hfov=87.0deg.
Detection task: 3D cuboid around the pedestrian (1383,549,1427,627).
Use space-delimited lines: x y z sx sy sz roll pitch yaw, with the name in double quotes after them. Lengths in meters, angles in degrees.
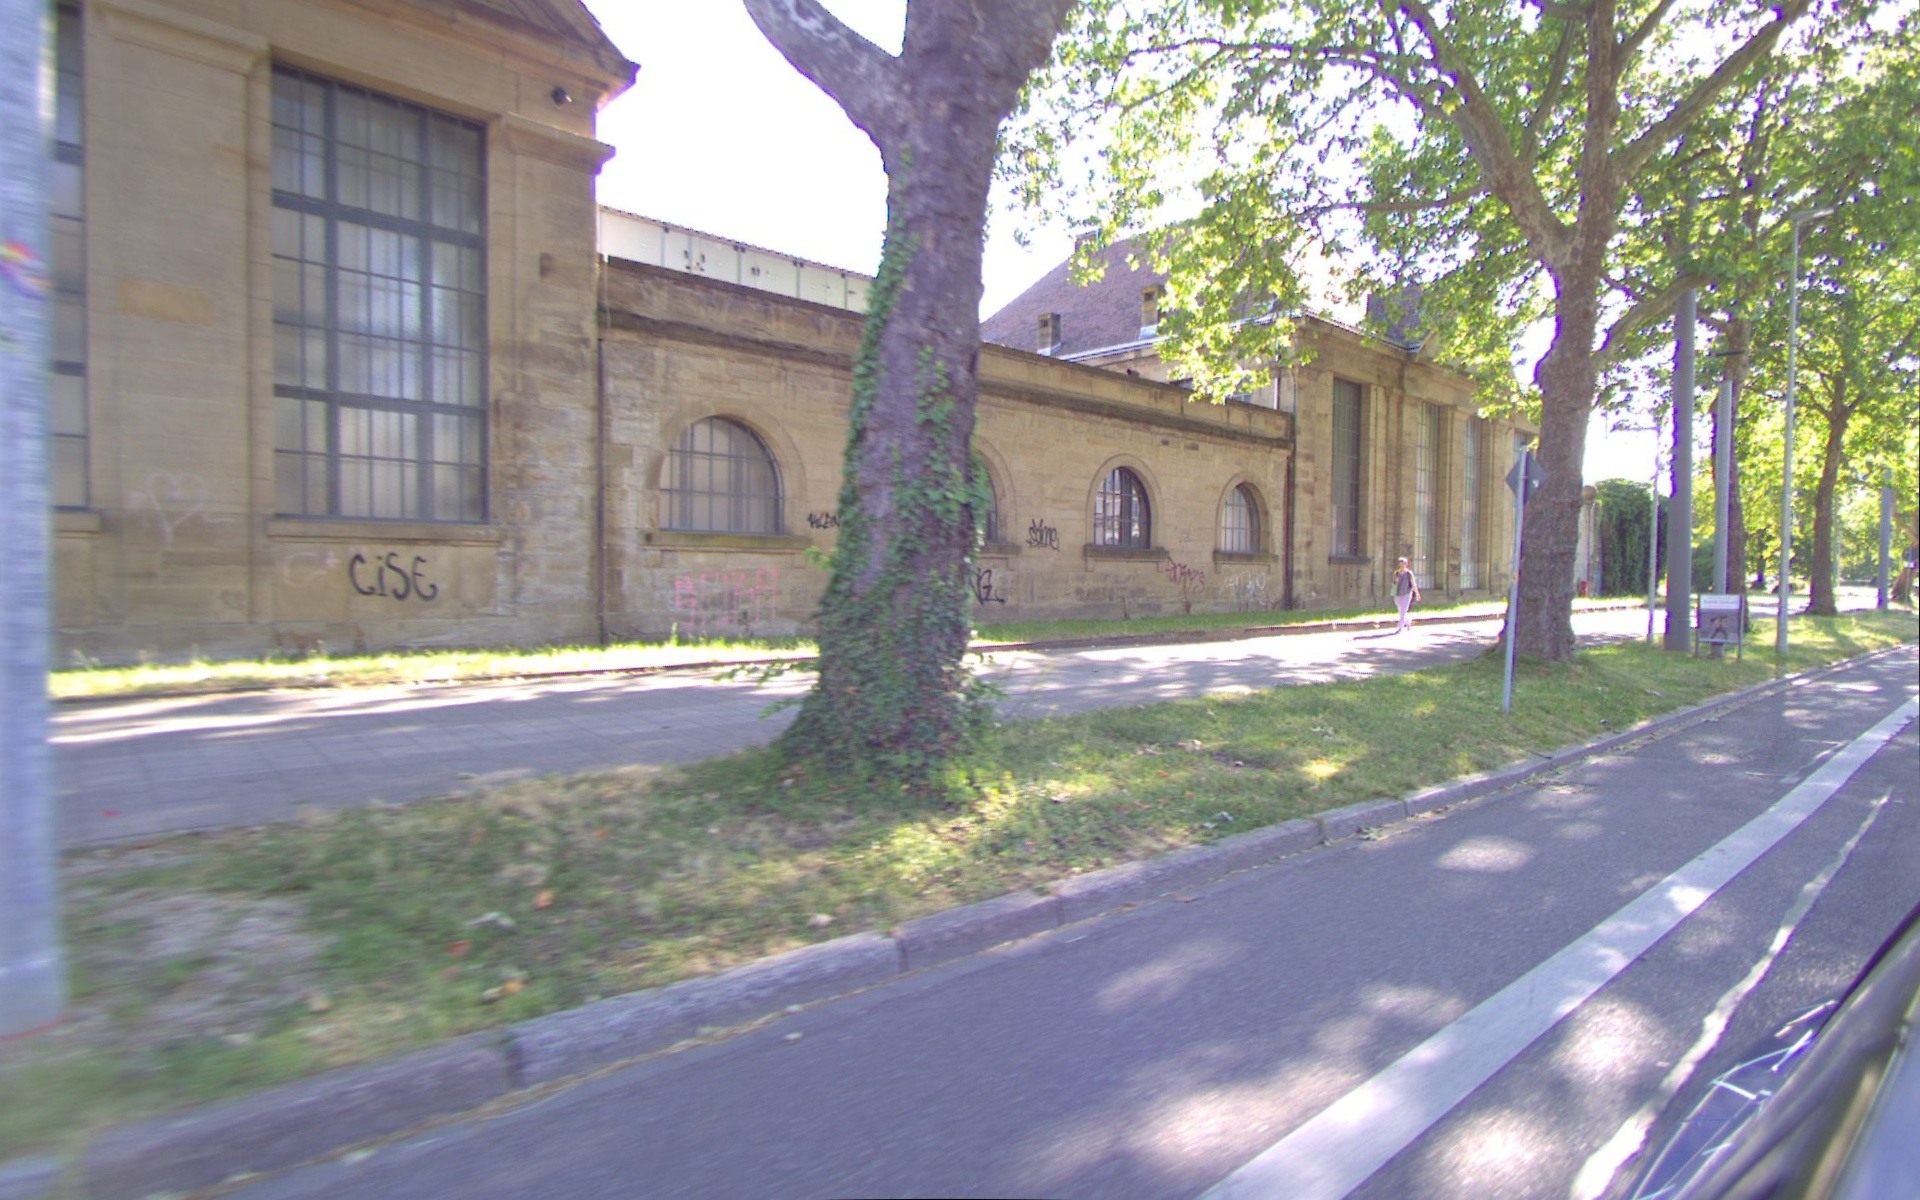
10.107 -0.276 22.986 0.626 1.701 0.609 -1 6 -45 "pedestrian"
